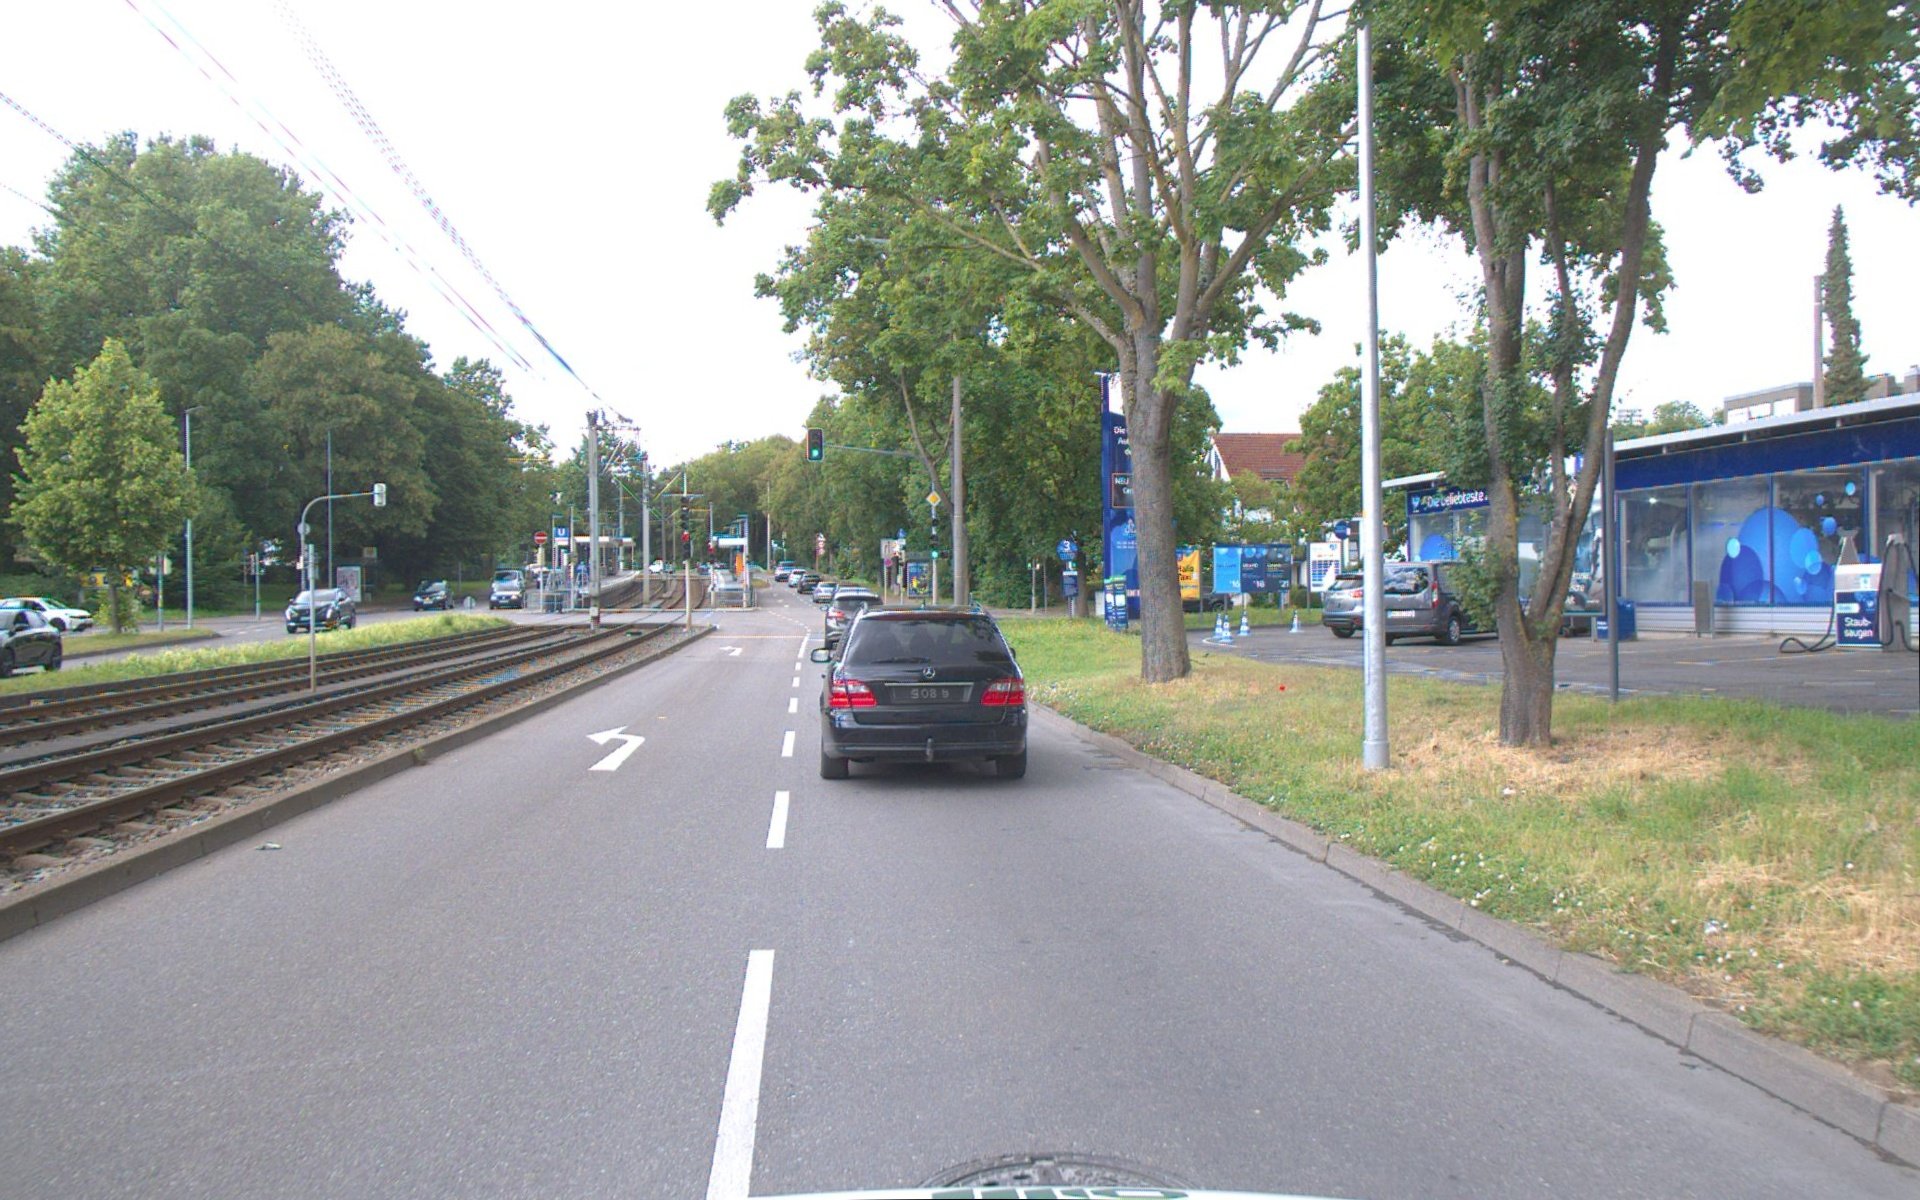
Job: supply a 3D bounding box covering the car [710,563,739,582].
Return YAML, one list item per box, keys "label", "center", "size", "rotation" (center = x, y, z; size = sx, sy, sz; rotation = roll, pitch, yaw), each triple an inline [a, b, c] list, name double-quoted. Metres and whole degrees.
- label: "car"
  center: [-25.627, -2.982, 179.549]
  size: [1.969, 2.049, 3.967]
  rotation: [2, 0, -26]

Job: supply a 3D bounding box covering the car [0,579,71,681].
- label: "car"
  center: [-20.636, 0.612, 35.014]
  size: [1.957, 2.049, 3.991]
  rotation: [-1, 0, -10]

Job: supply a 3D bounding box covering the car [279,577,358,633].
- label: "car"
  center: [-24.544, 0.178, 63.382]
  size: [1.957, 2.049, 4.238]
  rotation: [-1, 0, -10]

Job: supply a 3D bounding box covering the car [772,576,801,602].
- label: "car"
  center: [-14.670, -0.935, 139.838]
  size: [1.959, 2.049, 3.987]
  rotation: [2, 0, -13]

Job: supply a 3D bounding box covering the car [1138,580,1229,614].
- label: "car"
  center: [10.560, -0.140, 78.439]
  size: [4.067, 1.552, 1.704]
  rotation: [-1, 0, 0]

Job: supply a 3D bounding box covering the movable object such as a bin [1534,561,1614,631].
- label: "movable object such as a bin"
  center: [13.764, -0.089, 37.124]
  size: [1.137, 1.500, 1.384]
  rotation: [-1, 0, -9]

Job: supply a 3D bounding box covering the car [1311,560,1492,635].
- label: "car"
  center: [11.027, -0.087, 41.300]
  size: [4.143, 1.727, 1.827]
  rotation: [-2, 1, -24]

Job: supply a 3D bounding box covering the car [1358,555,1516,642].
- label: "car"
  center: [10.793, -0.064, 37.254]
  size: [1.720, 1.853, 4.359]
  rotation: [-1, 0, 41]

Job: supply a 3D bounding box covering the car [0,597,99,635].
- label: "car"
  center: [-37.509, 0.658, 67.476]
  size: [3.805, 1.432, 1.844]
  rotation: [-1, 0, -8]

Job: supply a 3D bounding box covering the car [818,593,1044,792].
- label: "car"
  center: [-0.392, 0.712, 15.040]
  size: [1.747, 1.552, 3.995]
  rotation: [0, 0, -6]

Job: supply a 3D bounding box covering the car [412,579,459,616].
- label: "car"
  center: [-29.624, -0.152, 93.487]
  size: [1.957, 2.049, 4.098]
  rotation: [-1, 0, -10]

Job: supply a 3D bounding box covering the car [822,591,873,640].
- label: "car"
  center: [-4.073, 0.539, 60.199]
  size: [1.746, 1.677, 3.998]
  rotation: [2, 0, -3]

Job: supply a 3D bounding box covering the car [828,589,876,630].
- label: "car"
  center: [-5.343, 0.447, 81.141]
  size: [1.957, 1.952, 3.991]
  rotation: [2, 0, -9]

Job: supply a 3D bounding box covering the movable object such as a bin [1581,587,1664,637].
- label: "movable object such as a bin"
  center: [13.715, 0.242, 34.254]
  size: [1.137, 0.993, 1.186]
  rotation: [-1, 0, -9]

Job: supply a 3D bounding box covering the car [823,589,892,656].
- label: "car"
  center: [-2.755, 0.575, 44.791]
  size: [1.746, 1.677, 3.998]
  rotation: [2, 0, -3]

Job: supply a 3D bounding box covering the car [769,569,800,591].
- label: "car"
  center: [-16.539, -1.888, 155.627]
  size: [1.964, 2.049, 3.976]
  rotation: [2, 0, -20]

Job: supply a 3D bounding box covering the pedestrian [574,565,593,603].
- label: "pedestrian"
  center: [-22.365, -0.936, 98.267]
  size: [0.951, 2.224, 0.974]
  rotation: [0, 1, -7]

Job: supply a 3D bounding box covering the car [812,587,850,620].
- label: "car"
  center: [-8.026, 0.204, 102.504]
  size: [1.957, 1.926, 3.991]
  rotation: [2, 0, -9]

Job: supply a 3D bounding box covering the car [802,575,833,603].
- label: "car"
  center: [-10.586, -0.780, 122.801]
  size: [1.957, 2.001, 3.991]
  rotation: [2, 0, -9]

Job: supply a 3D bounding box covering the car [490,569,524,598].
- label: "car"
  center: [-32.811, -1.175, 119.853]
  size: [1.958, 2.049, 4.872]
  rotation: [-1, 0, -11]

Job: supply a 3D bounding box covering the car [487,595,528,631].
- label: "car"
  center: [-24.904, 0.674, 91.154]
  size: [1.666, 1.893, 3.992]
  rotation: [2, 0, -9]
